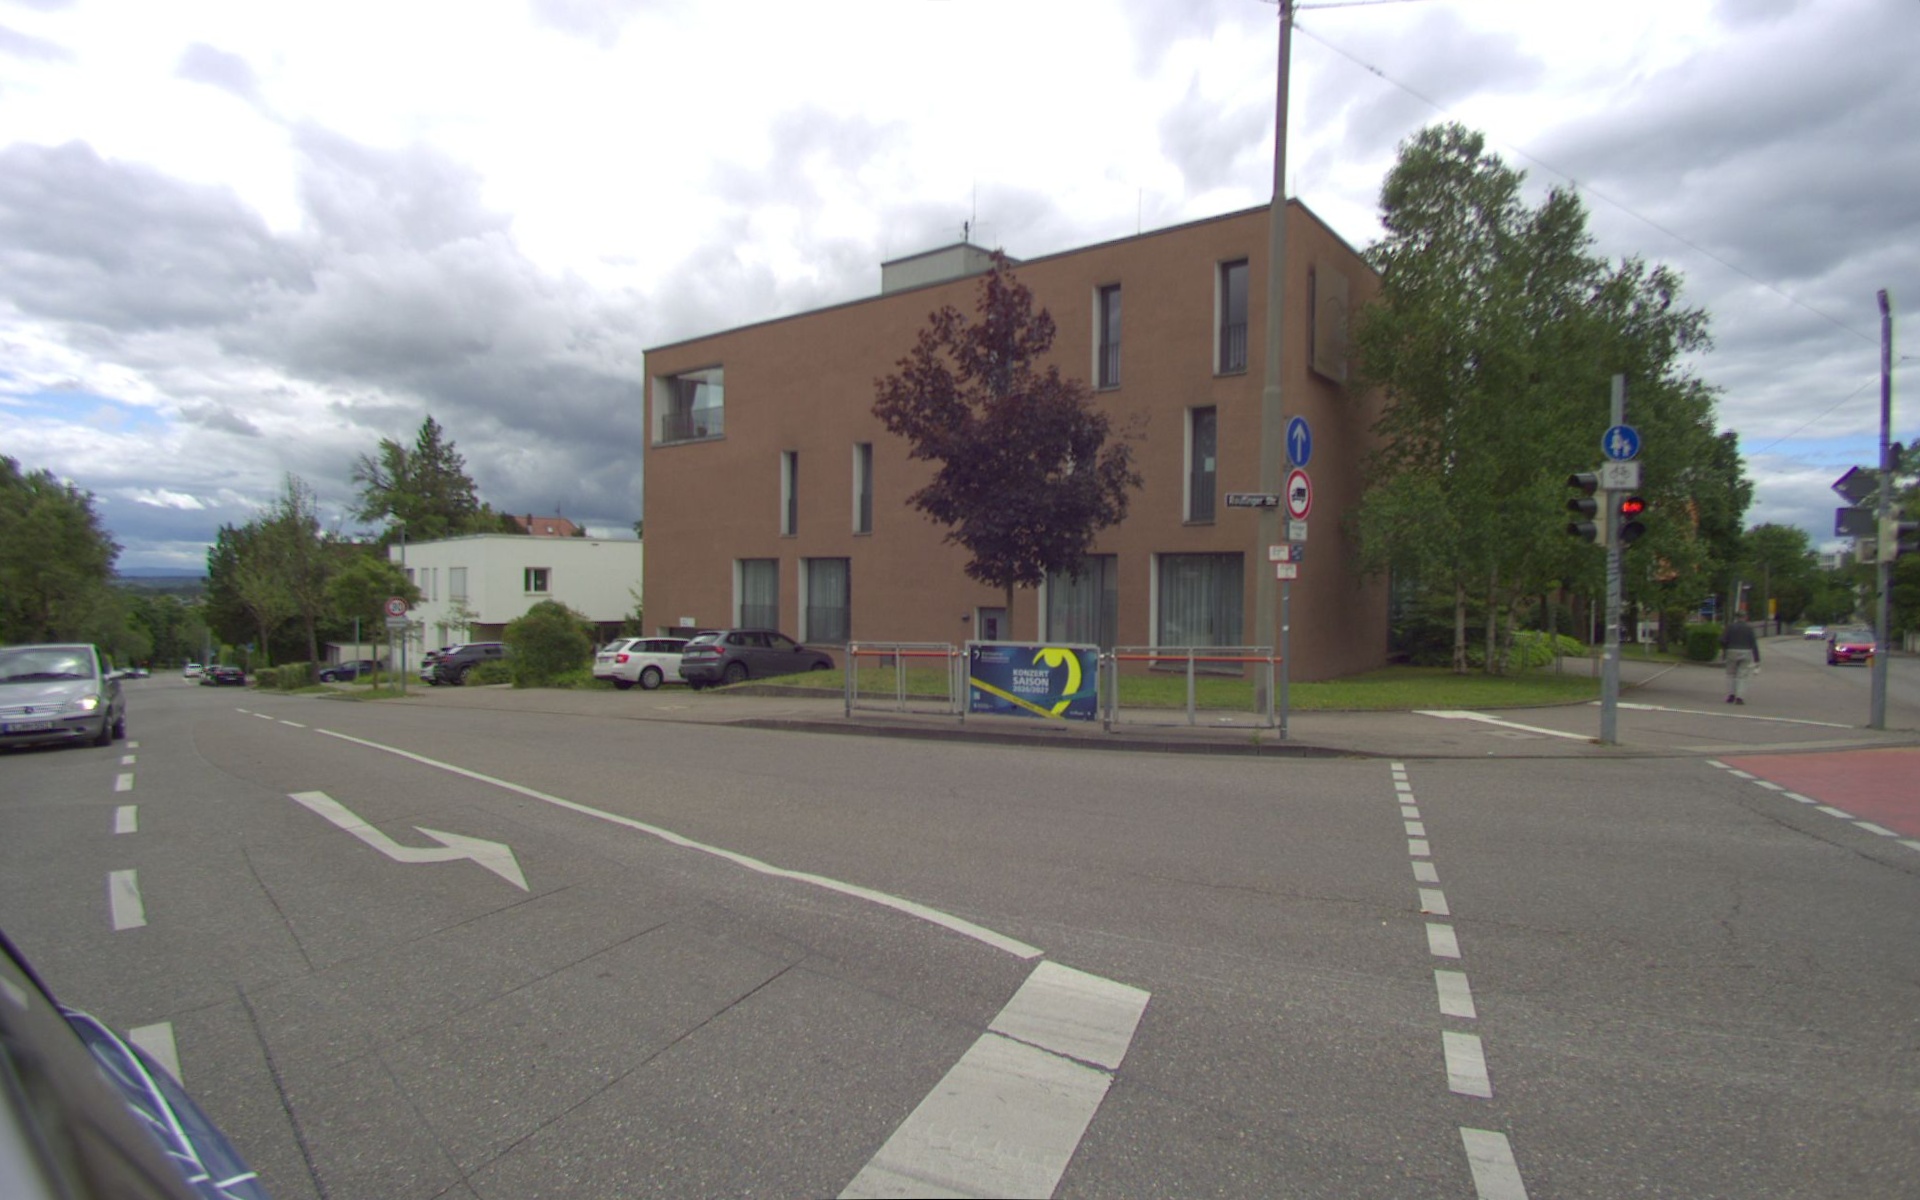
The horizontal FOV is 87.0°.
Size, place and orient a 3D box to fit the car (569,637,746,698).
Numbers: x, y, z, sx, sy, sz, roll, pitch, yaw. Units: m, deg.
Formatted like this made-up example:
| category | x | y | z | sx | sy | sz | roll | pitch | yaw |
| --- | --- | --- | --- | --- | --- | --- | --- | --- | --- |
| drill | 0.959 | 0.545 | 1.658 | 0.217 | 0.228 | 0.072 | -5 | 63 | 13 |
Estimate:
| category | x | y | z | sx | sy | sz | roll | pitch | yaw |
| --- | --- | --- | --- | --- | --- | --- | --- | --- | --- |
| car | -8.479 | 1.843 | 28.612 | 4.371 | 1.570 | 2.001 | 1 | -3 | -45 |

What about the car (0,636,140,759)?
| category | x | y | z | sx | sy | sz | roll | pitch | yaw |
| --- | --- | --- | --- | --- | --- | --- | --- | --- | --- |
| car | -13.899 | 1.467 | 15.378 | 1.967 | 1.608 | 4.009 | -1 | -4 | -35 |

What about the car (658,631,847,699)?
| category | x | y | z | sx | sy | sz | roll | pitch | yaw |
| --- | --- | --- | --- | --- | --- | --- | --- | --- | --- |
| car | -5.229 | 1.588 | 25.854 | 4.371 | 1.570 | 2.001 | 1 | -3 | -45 |

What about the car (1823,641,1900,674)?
| category | x | y | z | sx | sy | sz | roll | pitch | yaw |
| --- | --- | --- | --- | --- | --- | --- | --- | --- | --- |
| car | 39.261 | 2.461 | 44.157 | 1.995 | 1.209 | 3.953 | 0 | 0 | 34 |

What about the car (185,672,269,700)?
| category | x | y | z | sx | sy | sz | roll | pitch | yaw |
| --- | --- | --- | --- | --- | --- | --- | --- | --- | --- |
| car | -49.801 | 5.827 | 68.829 | 4.371 | 1.570 | 2.001 | 1 | -2 | -45 |
